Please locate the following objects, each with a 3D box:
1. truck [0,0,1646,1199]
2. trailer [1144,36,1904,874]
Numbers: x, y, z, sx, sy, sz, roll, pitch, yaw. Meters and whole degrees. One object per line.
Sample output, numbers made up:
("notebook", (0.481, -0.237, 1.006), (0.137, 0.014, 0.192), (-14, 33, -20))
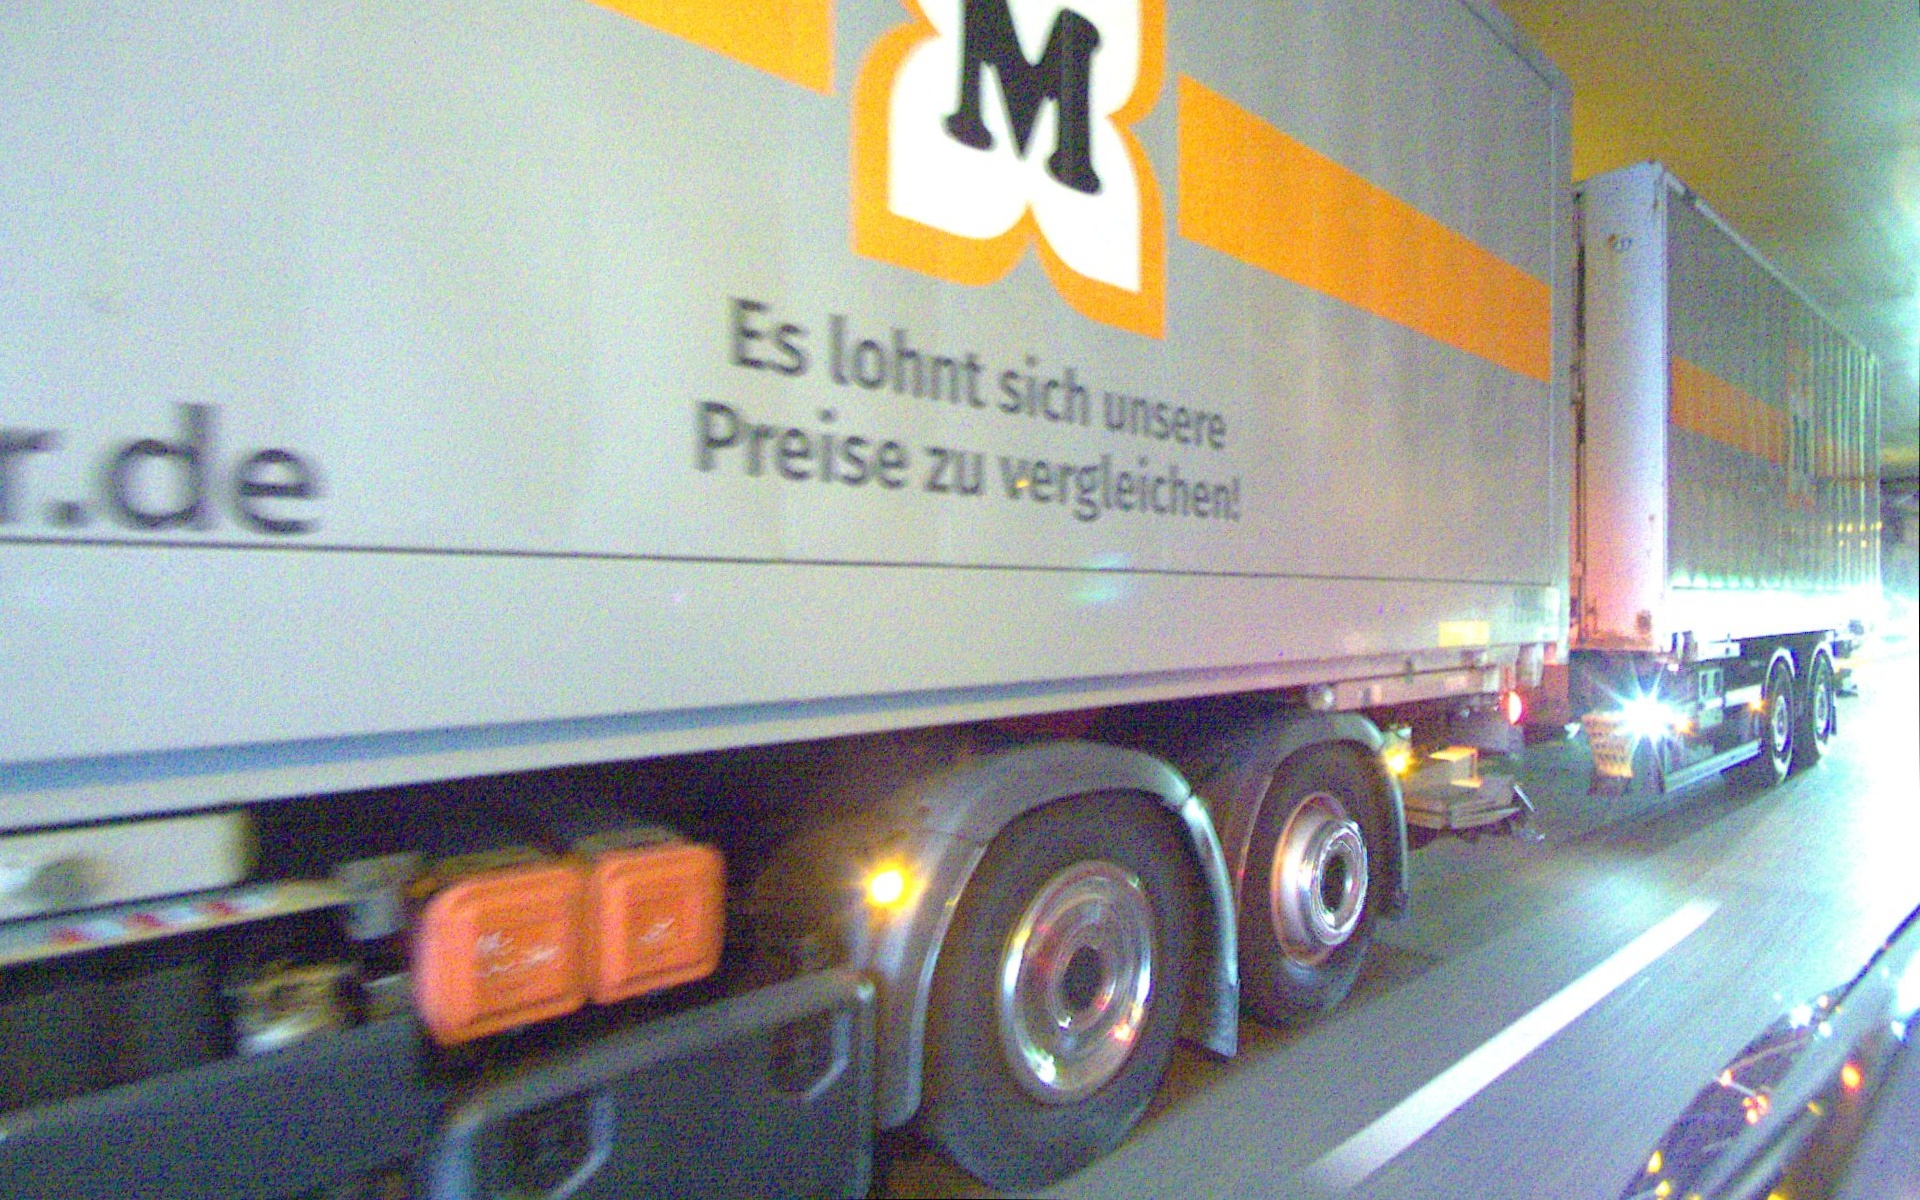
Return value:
("truck", (-1.424, -0.617, 2.624), (9.735, 3.963, 2.894), (0, 0, -41))
("trailer", (5.510, -0.692, 8.694), (8.790, 3.907, 2.880), (0, 0, -41))
